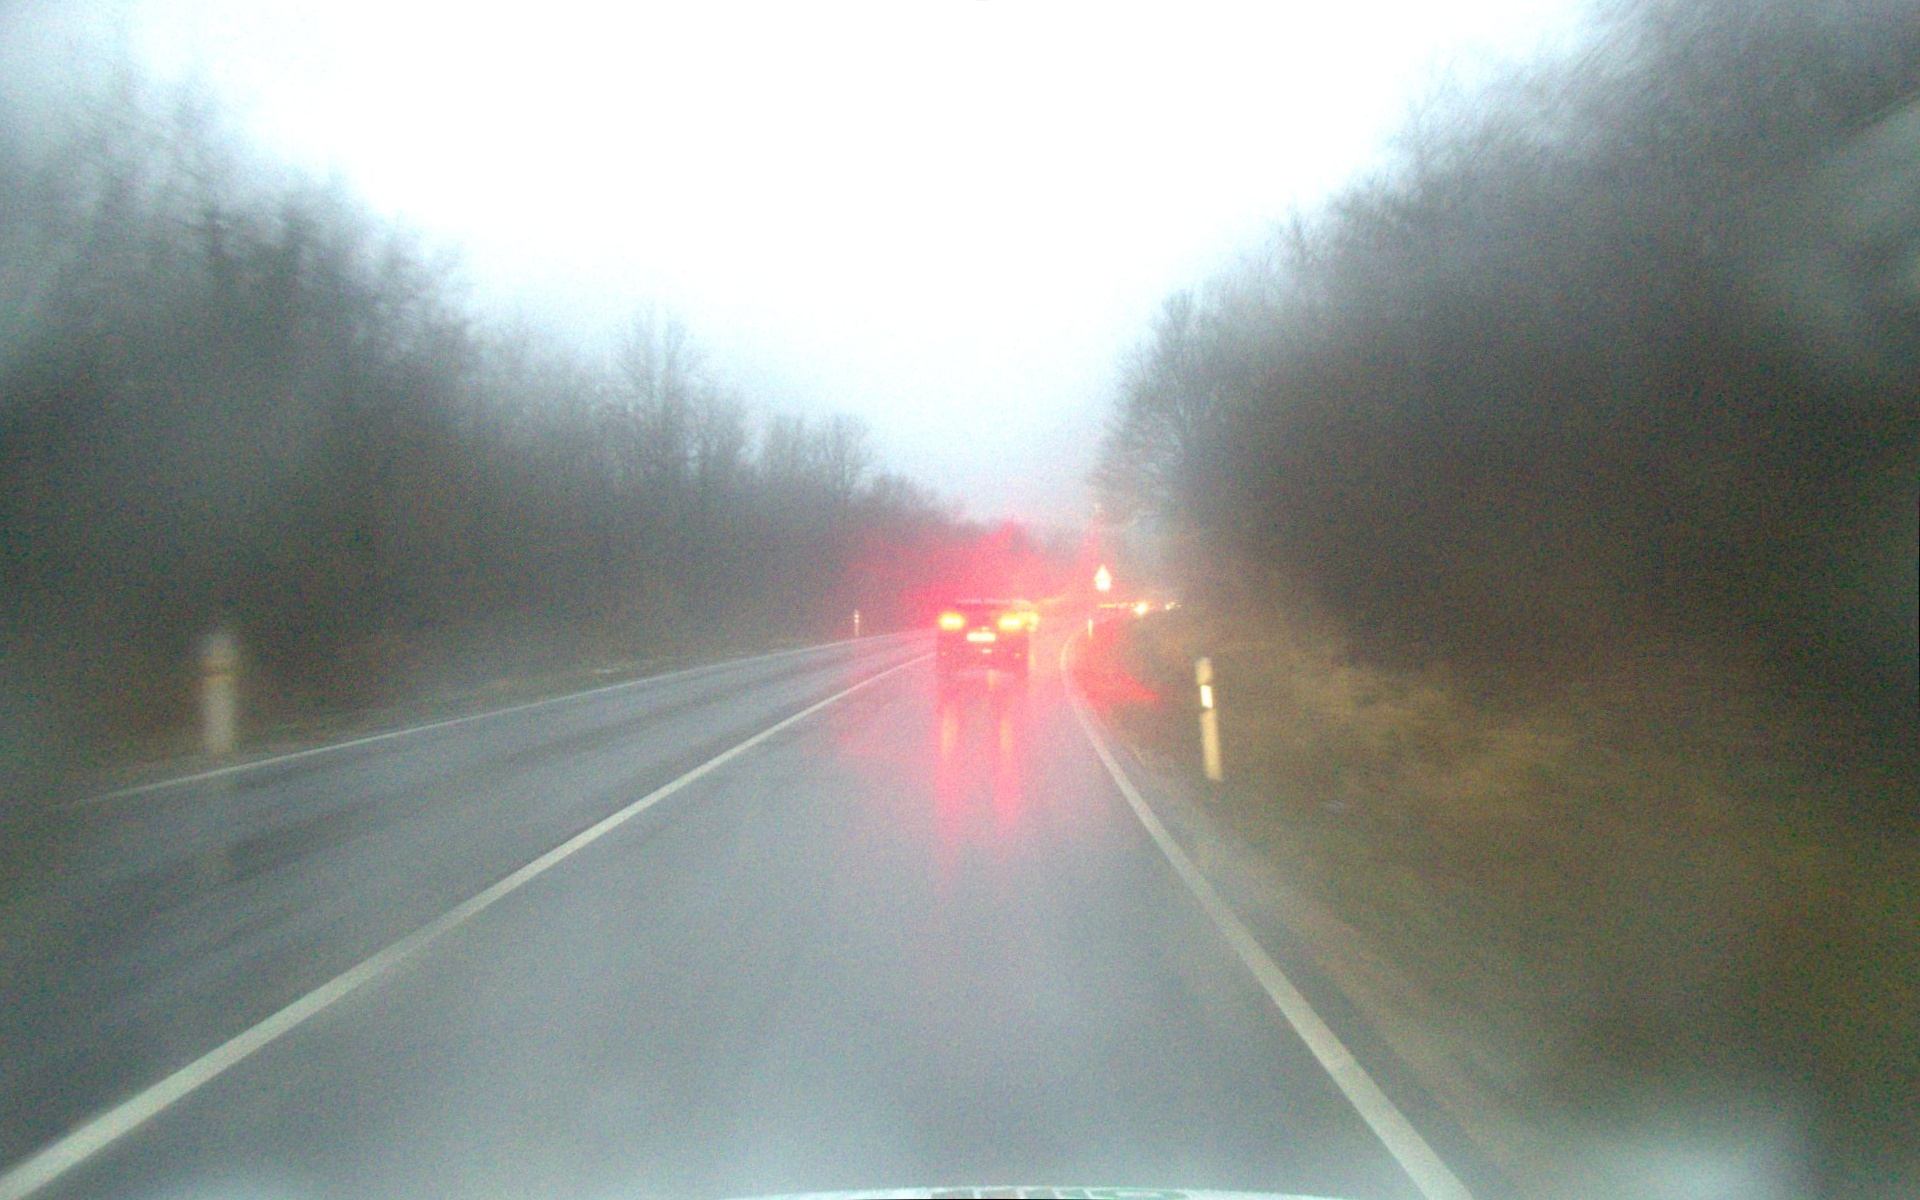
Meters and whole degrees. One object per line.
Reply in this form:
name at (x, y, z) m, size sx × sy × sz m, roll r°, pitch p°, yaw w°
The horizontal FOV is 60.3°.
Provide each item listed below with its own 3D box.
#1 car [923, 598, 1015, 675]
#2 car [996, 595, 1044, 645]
car at (0.236, 0.688, 32.660) m, size 1.643 × 1.414 × 4.099 m, roll 0°, pitch 0°, yaw 3°
car at (2.096, 0.699, 58.347) m, size 1.644 × 1.704 × 4.099 m, roll 0°, pitch 0°, yaw 1°
